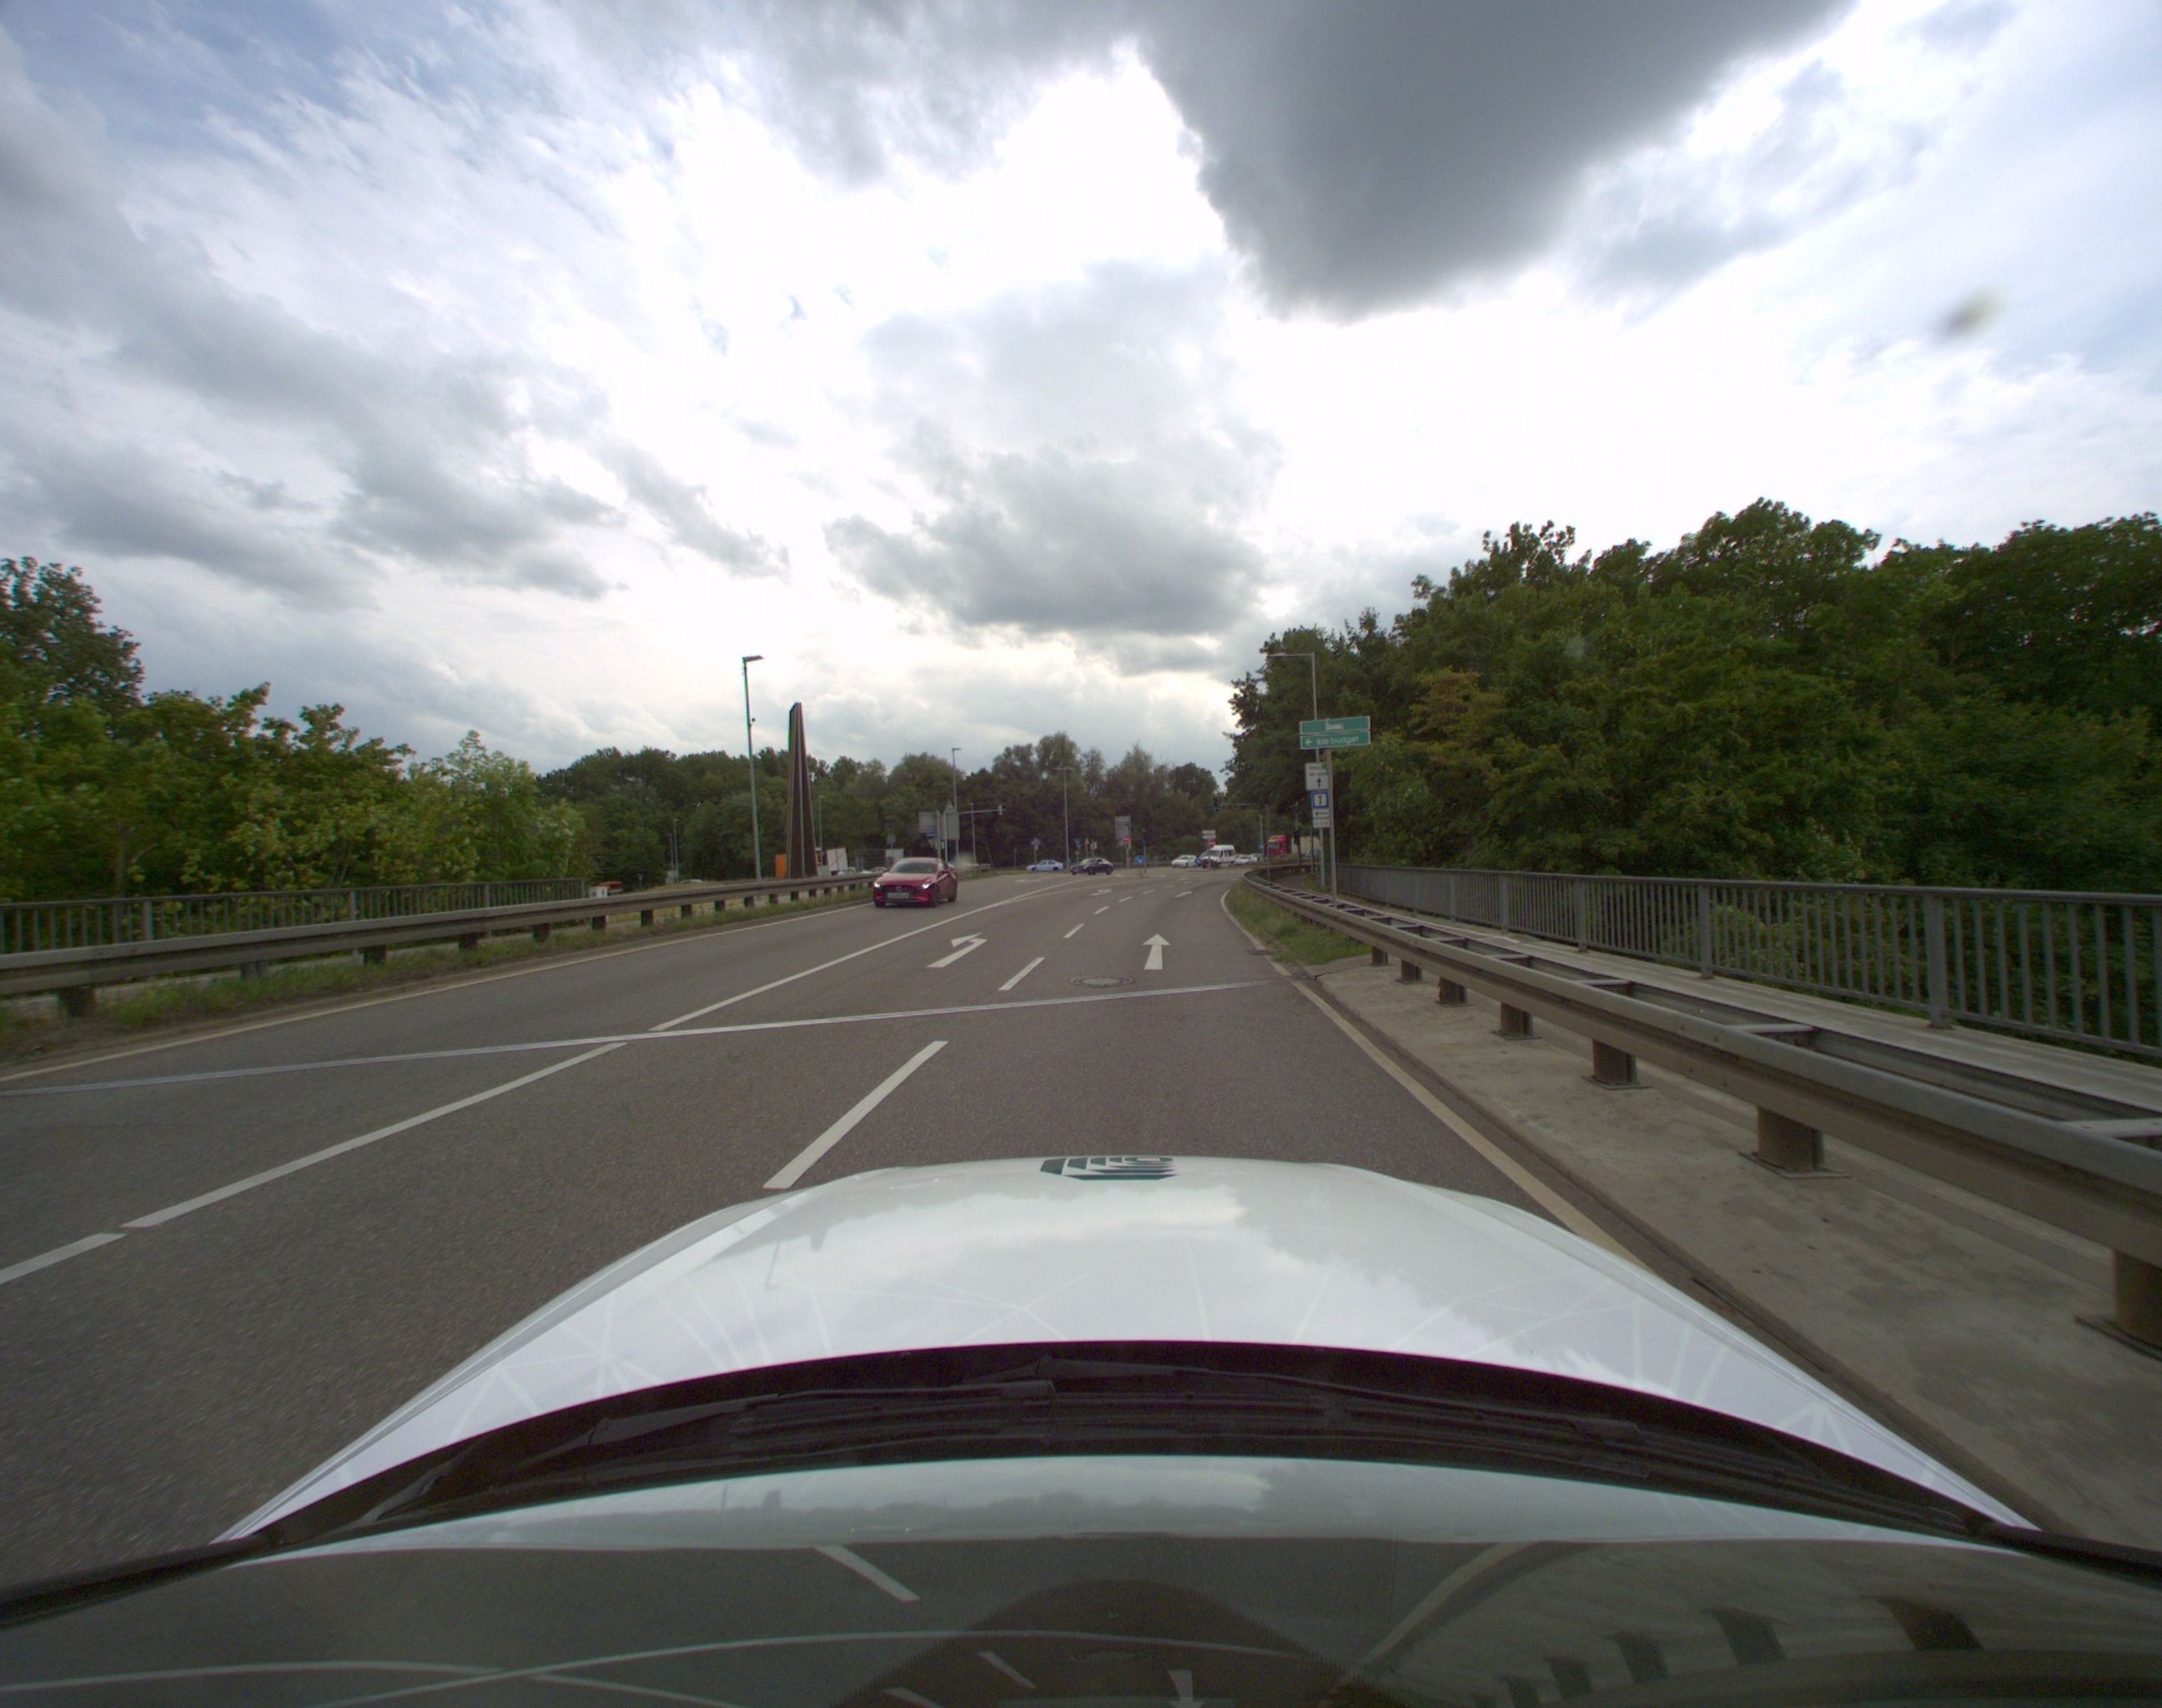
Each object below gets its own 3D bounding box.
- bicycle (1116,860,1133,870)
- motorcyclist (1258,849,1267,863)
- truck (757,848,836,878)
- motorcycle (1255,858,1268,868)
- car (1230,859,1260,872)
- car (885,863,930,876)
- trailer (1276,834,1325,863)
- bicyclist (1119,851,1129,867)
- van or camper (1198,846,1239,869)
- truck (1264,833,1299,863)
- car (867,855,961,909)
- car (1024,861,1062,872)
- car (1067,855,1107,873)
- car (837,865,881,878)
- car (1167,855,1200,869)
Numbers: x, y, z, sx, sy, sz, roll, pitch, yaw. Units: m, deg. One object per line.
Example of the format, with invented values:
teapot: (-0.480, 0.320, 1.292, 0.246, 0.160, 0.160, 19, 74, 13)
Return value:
bicycle: (4.834, 1.211, 90.632, 1.919, 1.052, 0.712, -4, -2, 41)
motorcyclist: (23.147, 0.221, 103.820, 0.857, 1.823, 0.931, -1, 0, 35)
truck: (-31.849, 1.000, 90.945, 9.157, 3.135, 2.990, -1, 0, 30)
motorcycle: (23.027, 1.158, 103.695, 0.791, 1.224, 2.341, -1, 0, 34)
car: (20.258, 1.360, 100.442, 1.974, 1.498, 4.428, -1, 0, 35)
car: (-18.410, 1.671, 86.510, 4.515, 1.310, 2.013, -1, 0, 31)
trailer: (32.927, -0.857, 121.733, 2.510, 4.147, 10.838, -1, 0, 41)
bicyclist: (4.780, 0.534, 90.748, 0.735, 1.735, 0.805, -3, -2, 41)
van or camper: (16.084, 0.357, 94.882, 2.139, 2.589, 6.537, -1, 0, 34)
truck: (28.751, -0.844, 116.881, 2.544, 4.083, 5.657, -1, 0, 41)
car: (-4.985, 0.786, 24.949, 1.789, 1.472, 4.637, -1, 0, 2)
car: (-4.414, 1.410, 94.581, 4.210, 1.205, 1.993, -1, 0, -10)
car: (0.530, 0.805, 67.437, 1.978, 1.455, 4.675, -1, 0, 17)
car: (-23.326, 1.839, 85.626, 4.282, 1.310, 2.013, -1, 0, 31)
car: (11.966, 0.925, 94.790, 1.974, 1.547, 4.567, -1, 0, 33)
